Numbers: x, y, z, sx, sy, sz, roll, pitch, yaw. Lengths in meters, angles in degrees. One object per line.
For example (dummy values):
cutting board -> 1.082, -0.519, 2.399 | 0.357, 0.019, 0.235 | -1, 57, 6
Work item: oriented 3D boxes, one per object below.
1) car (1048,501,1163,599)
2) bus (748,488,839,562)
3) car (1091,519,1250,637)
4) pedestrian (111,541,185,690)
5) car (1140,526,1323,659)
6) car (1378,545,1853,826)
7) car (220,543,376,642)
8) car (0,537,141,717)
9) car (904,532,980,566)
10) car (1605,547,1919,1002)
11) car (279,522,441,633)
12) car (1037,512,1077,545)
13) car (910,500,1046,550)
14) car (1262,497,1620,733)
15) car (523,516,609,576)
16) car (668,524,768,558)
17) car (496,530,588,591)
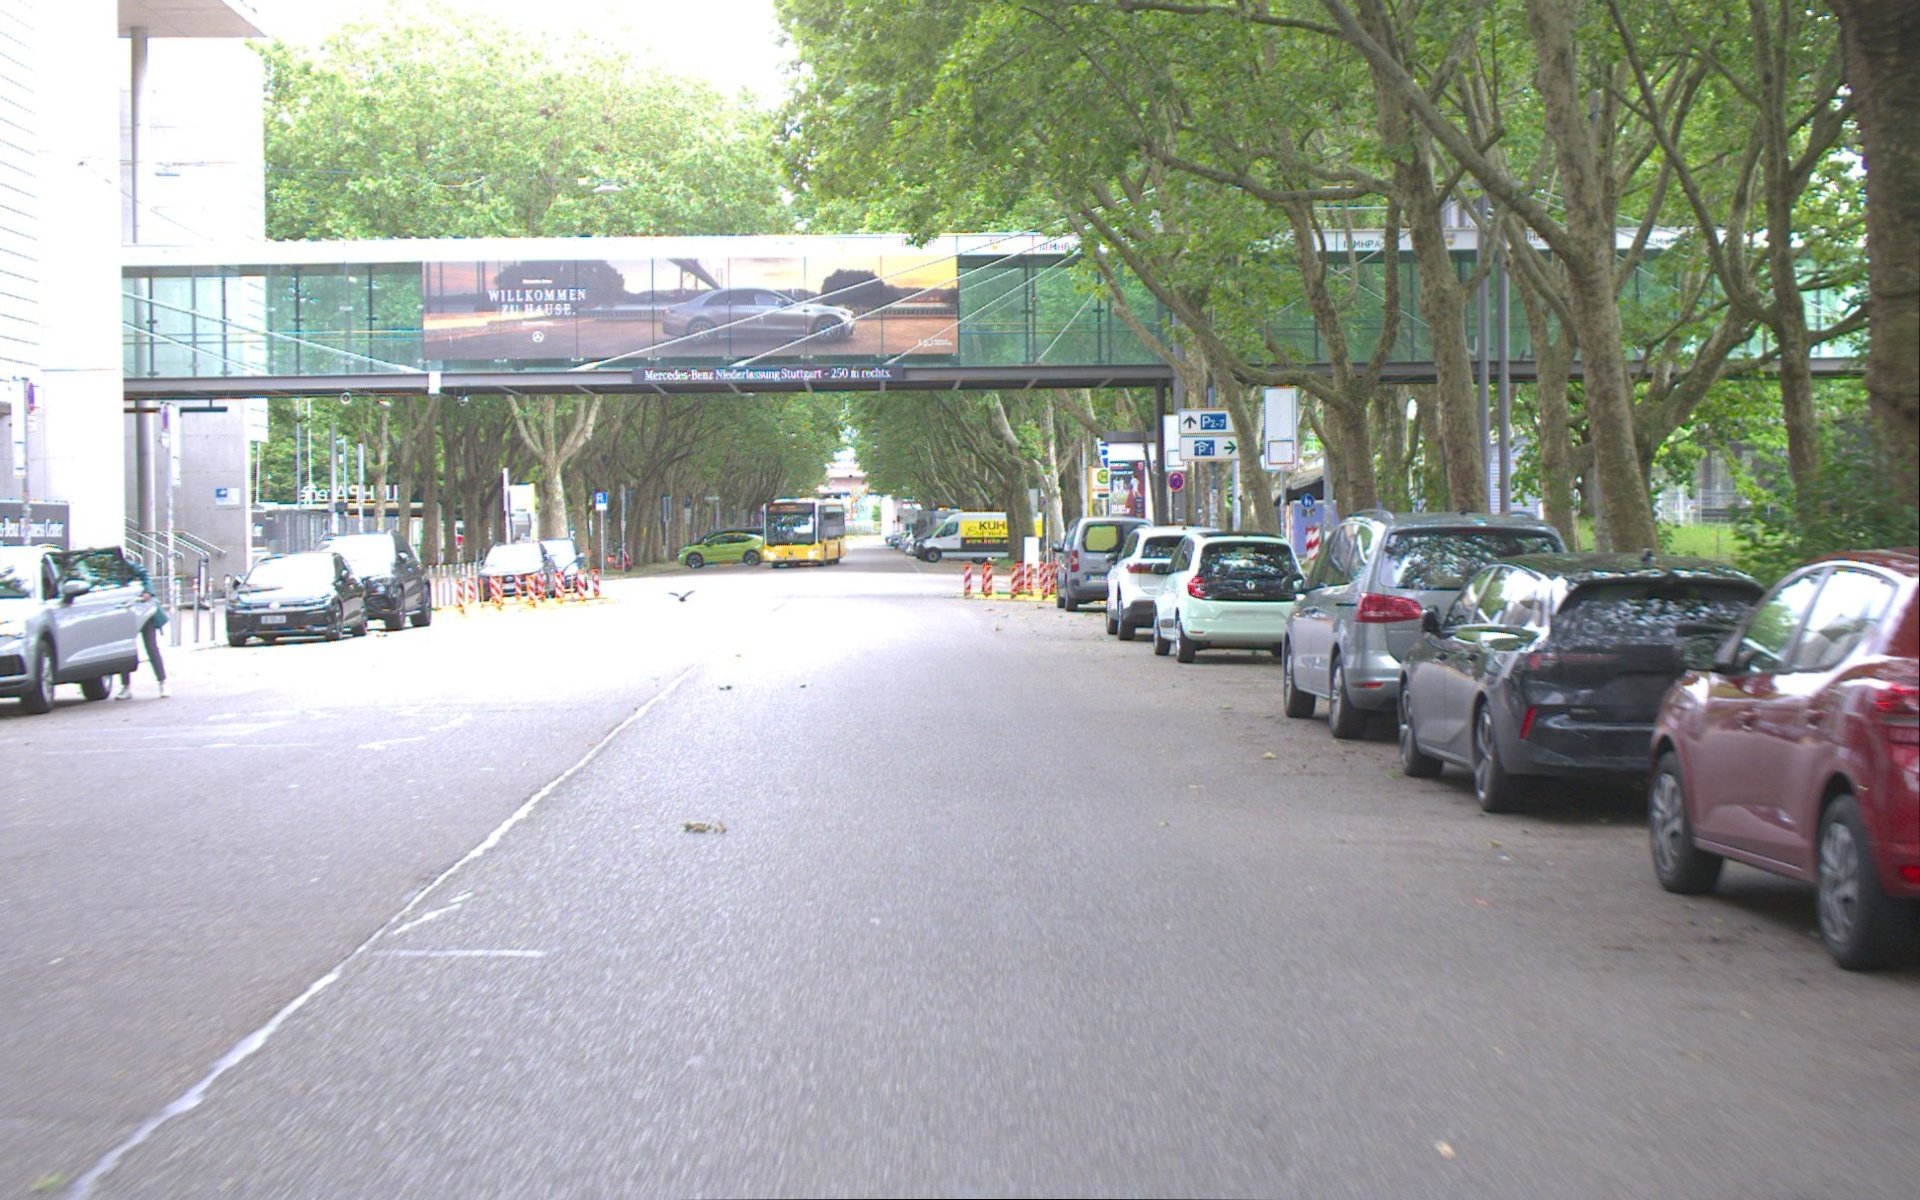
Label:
car -> 2.752, -0.969, 66.056 | 1.847, 1.776, 5.212 | 1, 1, -1
bus -> -7.617, -3.450, 158.928 | 3.039, 3.149, 12.677 | -2, 1, 2
car -> 3.000, -0.339, 49.824 | 1.914, 1.612, 4.749 | -1, 1, -1
pedestrian -> -8.081, 0.151, 34.211 | 0.584, 1.461, 0.567 | 0, 1, 2
car -> 3.239, -0.125, 41.647 | 1.807, 1.521, 4.096 | -1, 1, -1
car -> 3.699, 0.412, 20.193 | 1.877, 1.422, 4.480 | 0, 1, -1
car -> -10.701, -0.152, 55.853 | 1.704, 1.415, 4.325 | -3, 1, -1
car -> -9.419, 0.207, 32.954 | 2.073, 1.557, 4.756 | -1, 1, -1
car -> -0.969, -2.737, 183.719 | 3.986, 1.787, 1.543 | -1, 1, -2
car -> 3.917, 0.545, 13.523 | 1.856, 1.476, 4.178 | 0, 1, -2
car -> -10.721, -0.446, 61.778 | 2.034, 1.783, 4.908 | -4, 1, -1
car -> 5.353, -3.926, 189.269 | 1.993, 1.766, 4.000 | -1, 1, -1
car -> 0.888, -3.846, 176.275 | 6.822, 2.505, 2.317 | -1, 1, -3
car -> 3.670, 0.067, 27.088 | 1.981, 1.674, 4.732 | -1, 1, -2
car -> -11.374, -1.568, 99.527 | 1.993, 1.579, 4.113 | -3, 1, -1
car -> -11.678, -2.834, 165.956 | 4.700, 1.579, 1.864 | 0, 1, 0
car -> -10.969, -1.057, 90.464 | 1.858, 1.448, 4.449 | -3, 1, -1
